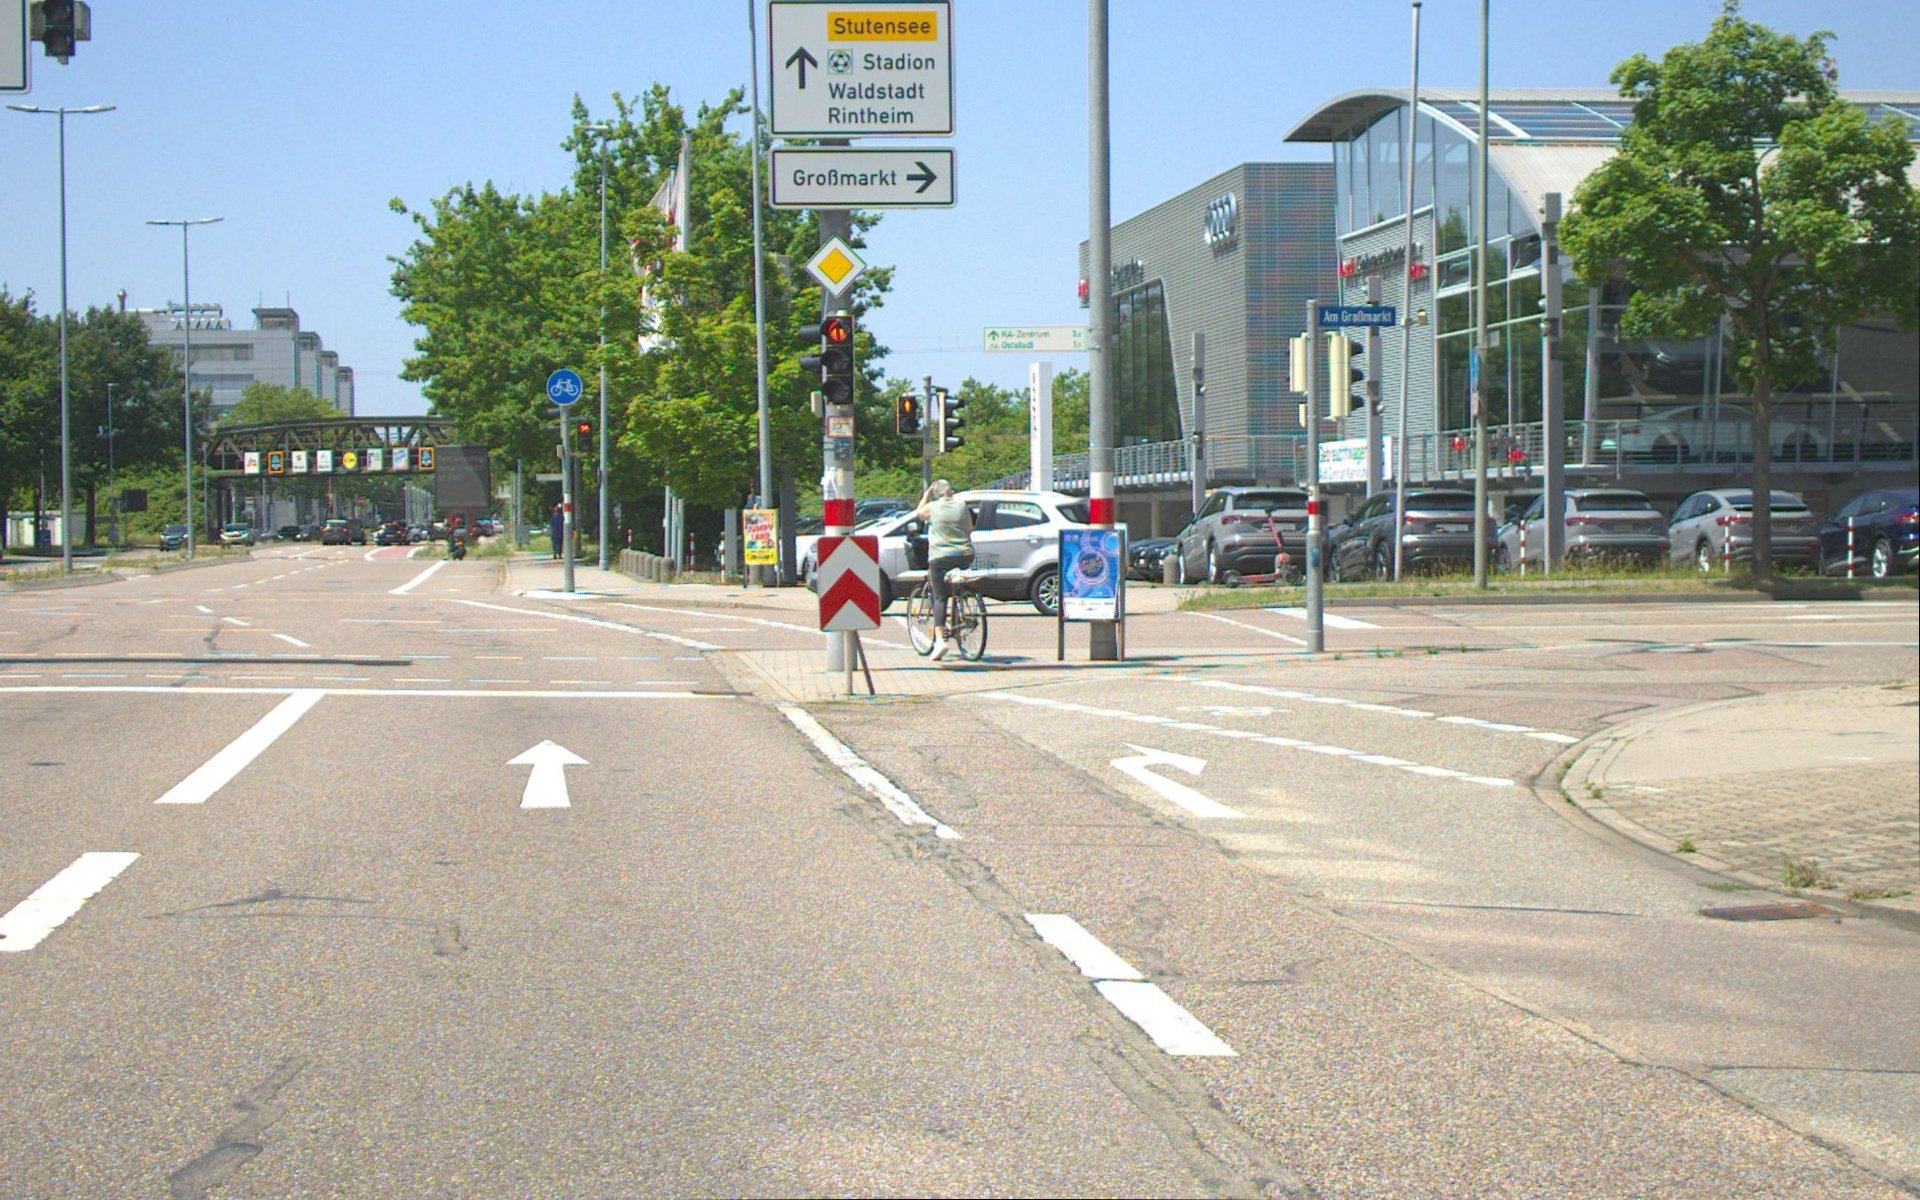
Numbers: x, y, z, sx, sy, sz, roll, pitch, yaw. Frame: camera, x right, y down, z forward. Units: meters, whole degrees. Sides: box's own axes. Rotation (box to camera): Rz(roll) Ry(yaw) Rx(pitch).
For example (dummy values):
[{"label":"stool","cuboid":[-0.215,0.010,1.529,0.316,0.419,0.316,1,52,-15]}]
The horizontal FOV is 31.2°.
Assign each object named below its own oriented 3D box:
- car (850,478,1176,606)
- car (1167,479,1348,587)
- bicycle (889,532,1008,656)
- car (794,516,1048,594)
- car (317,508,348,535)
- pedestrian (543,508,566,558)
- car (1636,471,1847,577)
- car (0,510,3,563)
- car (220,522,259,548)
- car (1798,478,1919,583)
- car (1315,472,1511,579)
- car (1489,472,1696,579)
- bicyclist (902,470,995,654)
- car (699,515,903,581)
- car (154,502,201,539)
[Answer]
[{"label":"car","cuboid":[0.722,-0.775,45.191,4.195,1.646,1.715,0,2,3]},{"label":"car","cuboid":[4.713,-1.110,55.108,1.993,1.634,4.270,0,2,-8]},{"label":"bicycle","cuboid":[-0.127,-0.077,33.284,0.786,1.123,1.921,0,2,-11]},{"label":"car","cuboid":[-0.790,-0.908,67.674,4.740,1.452,2.001,-1,2,-9]},{"label":"car","cuboid":[-41.581,-5.202,227.830,1.771,1.722,4.001,-1,1,-8]},{"label":"pedestrian","cuboid":[-12.284,-2.035,104.223,0.668,1.505,0.736,-1,2,-8]},{"label":"car","cuboid":[12.663,-1.268,55.987,1.885,1.634,4.526,-1,2,-8]},{"label":"car","cuboid":[-37.278,-2.355,128.922,1.993,2.001,4.765,-1,1,-7]},{"label":"car","cuboid":[-46.201,-4.158,220.538,1.926,1.659,4.090,-1,1,-5]},{"label":"car","cuboid":[15.468,-1.175,56.432,1.827,1.634,4.476,-1,2,-8]},{"label":"car","cuboid":[7.254,-1.240,55.473,1.993,1.634,4.559,-1,2,-8]},{"label":"car","cuboid":[10.190,-1.244,55.714,1.993,1.634,4.442,-1,2,-8]},{"label":"bicyclist","cuboid":[-0.116,-0.370,33.096,0.733,1.743,0.754,1,2,-12]},{"label":"car","cuboid":[-3.894,-1.279,83.852,4.740,1.452,2.001,-1,2,-9]},{"label":"car","cuboid":[-44.830,-4.552,197.050,1.993,2.007,4.000,0,0,-4]}]
